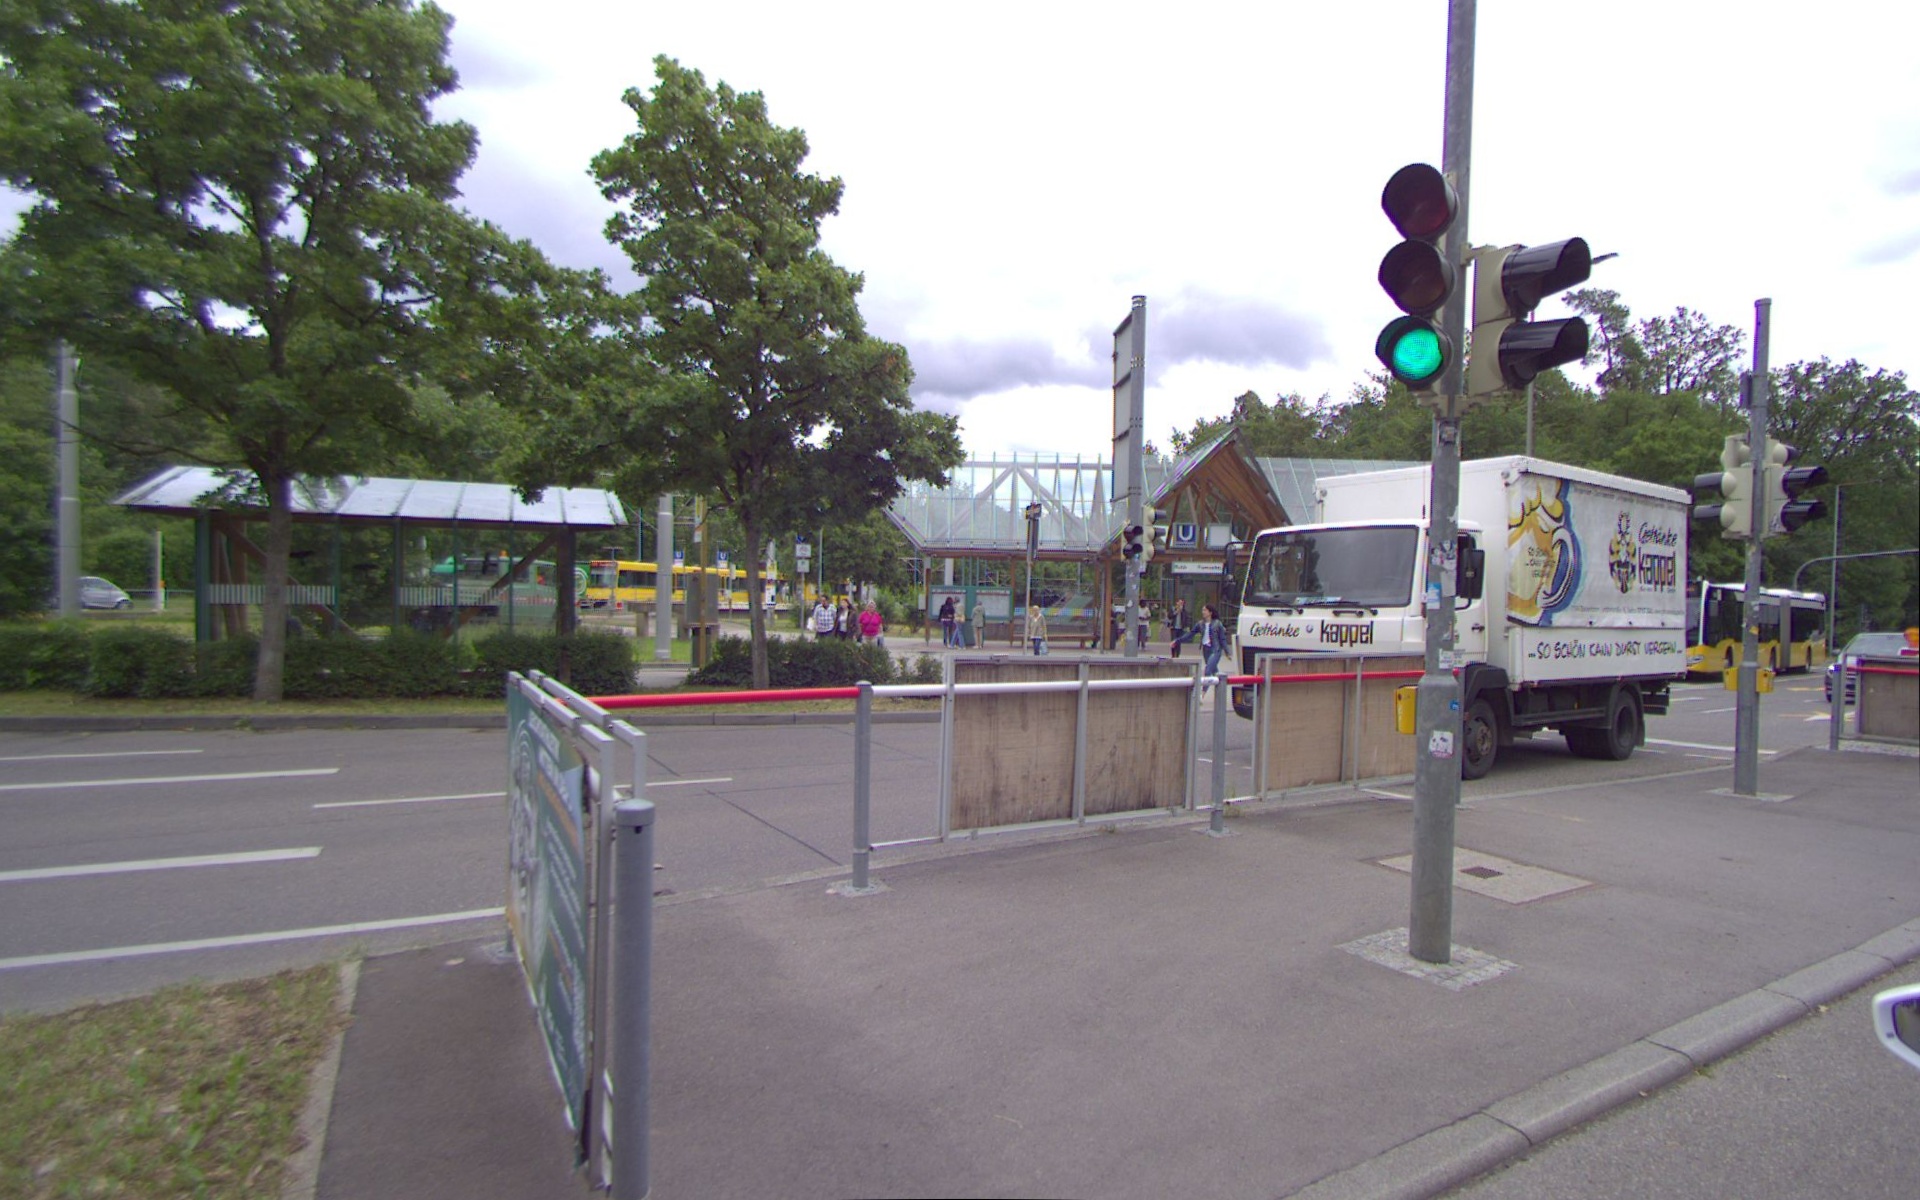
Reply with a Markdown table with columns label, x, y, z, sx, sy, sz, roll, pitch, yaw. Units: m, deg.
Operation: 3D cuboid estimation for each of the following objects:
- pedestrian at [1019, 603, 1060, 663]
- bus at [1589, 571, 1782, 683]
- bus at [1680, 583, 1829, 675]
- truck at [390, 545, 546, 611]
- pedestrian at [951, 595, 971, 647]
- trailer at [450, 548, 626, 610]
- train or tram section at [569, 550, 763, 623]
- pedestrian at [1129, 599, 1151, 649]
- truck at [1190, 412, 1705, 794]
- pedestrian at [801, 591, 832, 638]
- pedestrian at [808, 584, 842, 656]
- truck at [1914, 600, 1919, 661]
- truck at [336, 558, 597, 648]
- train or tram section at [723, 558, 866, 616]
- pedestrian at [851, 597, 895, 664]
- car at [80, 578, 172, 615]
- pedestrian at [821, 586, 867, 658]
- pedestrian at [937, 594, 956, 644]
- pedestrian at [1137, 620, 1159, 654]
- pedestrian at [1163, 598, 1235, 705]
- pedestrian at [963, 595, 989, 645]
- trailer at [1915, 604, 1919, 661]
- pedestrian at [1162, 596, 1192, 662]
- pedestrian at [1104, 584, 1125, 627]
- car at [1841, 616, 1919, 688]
| label | x | y | z | sx | sy | sz | roll | pitch | yaw |
| --- | --- | --- | --- | --- | --- | --- | --- | --- | --- |
| pedestrian | 2.123 | 0.868 | 26.831 | 0.754 | 1.545 | 0.874 | 3 | 2 | 28 |
| bus | 23.787 | 0.856 | 32.666 | 9.682 | 3.168 | 2.874 | 2 | 0 | -41 |
| bus | 30.708 | 1.107 | 38.660 | 8.625 | 3.168 | 2.874 | 2 | 0 | -41 |
| truck | -32.110 | -1.412 | 66.023 | 3.718 | 3.934 | 8.760 | 3 | 2 | 27 |
| pedestrian | 0.041 | 0.669 | 32.854 | 0.572 | 1.647 | 0.674 | 2 | 2 | 1 |
| trailer | -29.498 | -1.428 | 71.080 | 3.718 | 3.934 | 11.854 | 3 | 2 | 27 |
| train or tram section | -20.771 | -1.001 | 73.631 | 3.515 | 4.595 | 18.683 | 3 | 1 | 19 |
| pedestrian | 6.051 | 0.804 | 33.701 | 0.662 | 1.618 | 0.673 | 2 | 2 | 11 |
| truck | 5.739 | 0.121 | 11.457 | 6.143 | 3.281 | 2.612 | 2 | -1 | -35 |
| pedestrian | -5.200 | 0.523 | 36.341 | 0.774 | 1.647 | 0.765 | 4 | 2 | 44 |
| pedestrian | -3.277 | 0.474 | 24.277 | 0.674 | 1.688 | 0.868 | 2 | 2 | -14 |
| truck | 56.186 | 1.797 | 57.124 | 2.710 | 3.361 | 7.117 | -1 | -3 | 44 |
| truck | -13.842 | 0.043 | 28.671 | 2.562 | 2.199 | 6.287 | 3 | 2 | 32 |
| train or tram section | -14.537 | -1.219 | 92.213 | 3.515 | 4.595 | 20.654 | 3 | 1 | 19 |
| pedestrian | -2.103 | 0.732 | 24.291 | 0.782 | 1.573 | 0.769 | 1 | 2 | -29 |
| car | -36.685 | -0.170 | 44.244 | 1.470 | 1.495 | 2.743 | 3 | 2 | 24 |
| pedestrian | -2.619 | 0.491 | 22.654 | 0.768 | 1.566 | 0.623 | 3 | 1 | -32 |
| pedestrian | -0.448 | 0.634 | 33.958 | 0.572 | 1.647 | 0.674 | 2 | 2 | 1 |
| pedestrian | 7.404 | 1.446 | 39.652 | 0.751 | 1.286 | 0.392 | 2 | 2 | 0 |
| pedestrian | 3.992 | 0.832 | 16.724 | 1.072 | 1.698 | 0.911 | 2 | 0 | 17 |
| pedestrian | 0.533 | 0.670 | 33.643 | 0.576 | 1.647 | 0.670 | 1 | 2 | -23 |
| trailer | 60.397 | 2.069 | 61.495 | 2.710 | 3.361 | 8.518 | -1 | -3 | 44 |
| pedestrian | 6.333 | 0.832 | 29.309 | 0.751 | 1.833 | 0.995 | 2 | 2 | 13 |
| pedestrian | 5.793 | 0.217 | 37.776 | 0.597 | 1.575 | 0.463 | 2 | 2 | -14 |
| car | 22.033 | 1.204 | 23.128 | 4.268 | 1.529 | 1.795 | 3 | -2 | -37 |
